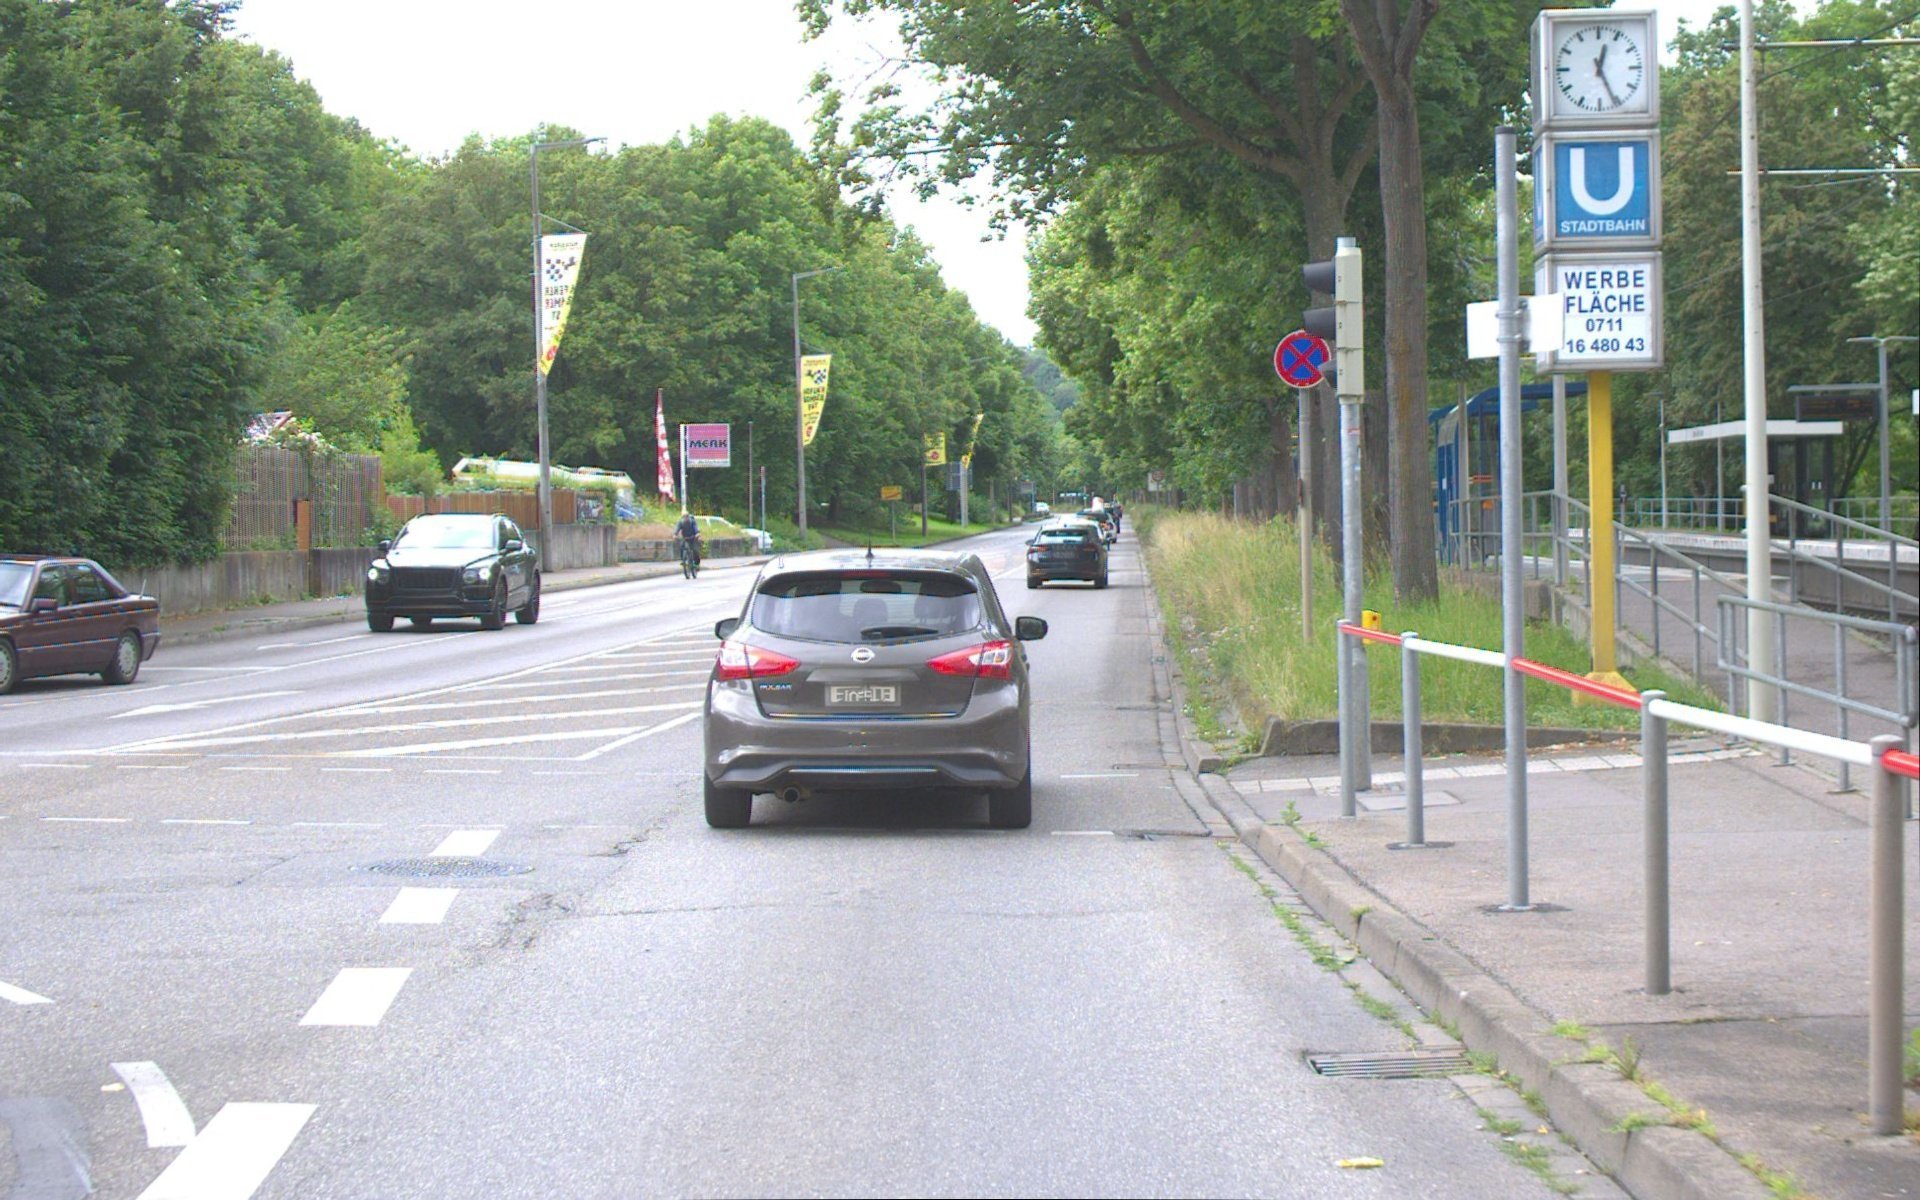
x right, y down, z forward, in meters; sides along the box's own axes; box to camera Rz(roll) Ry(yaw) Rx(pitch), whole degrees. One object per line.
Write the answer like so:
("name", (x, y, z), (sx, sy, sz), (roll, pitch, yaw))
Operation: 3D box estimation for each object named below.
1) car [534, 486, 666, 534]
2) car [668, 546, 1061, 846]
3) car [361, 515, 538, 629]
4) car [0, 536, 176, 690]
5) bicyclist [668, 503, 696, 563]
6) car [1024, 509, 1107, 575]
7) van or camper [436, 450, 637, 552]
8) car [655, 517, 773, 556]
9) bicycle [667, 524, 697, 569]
("car", (-11.845, -2.970, 113.279), (3.988, 1.492, 1.859), (1, 1, 8))
("car", (-0.445, 0.462, 19.774), (1.837, 1.523, 3.928), (0, 1, 5))
("car", (-7.804, -0.457, 52.955), (1.902, 1.673, 5.081), (0, 1, 1))
("car", (-9.610, 0.089, 34.452), (1.743, 1.459, 4.340), (1, 1, 12))
("bicyclist", (-7.204, -1.733, 89.171), (0.642, 1.530, 0.979), (1, 1, -2))
("car", (2.444, -1.333, 78.704), (1.710, 1.470, 3.671), (1, 1, 5))
("van or camper", (-16.425, -3.831, 133.547), (7.142, 3.359, 2.796), (5, 2, 3))
("car", (-9.529, -2.467, 133.378), (4.375, 1.436, 1.961), (1, 1, 1))
("bicycle", (-7.208, -1.395, 89.153), (0.642, 1.141, 2.148), (1, 1, -2))
